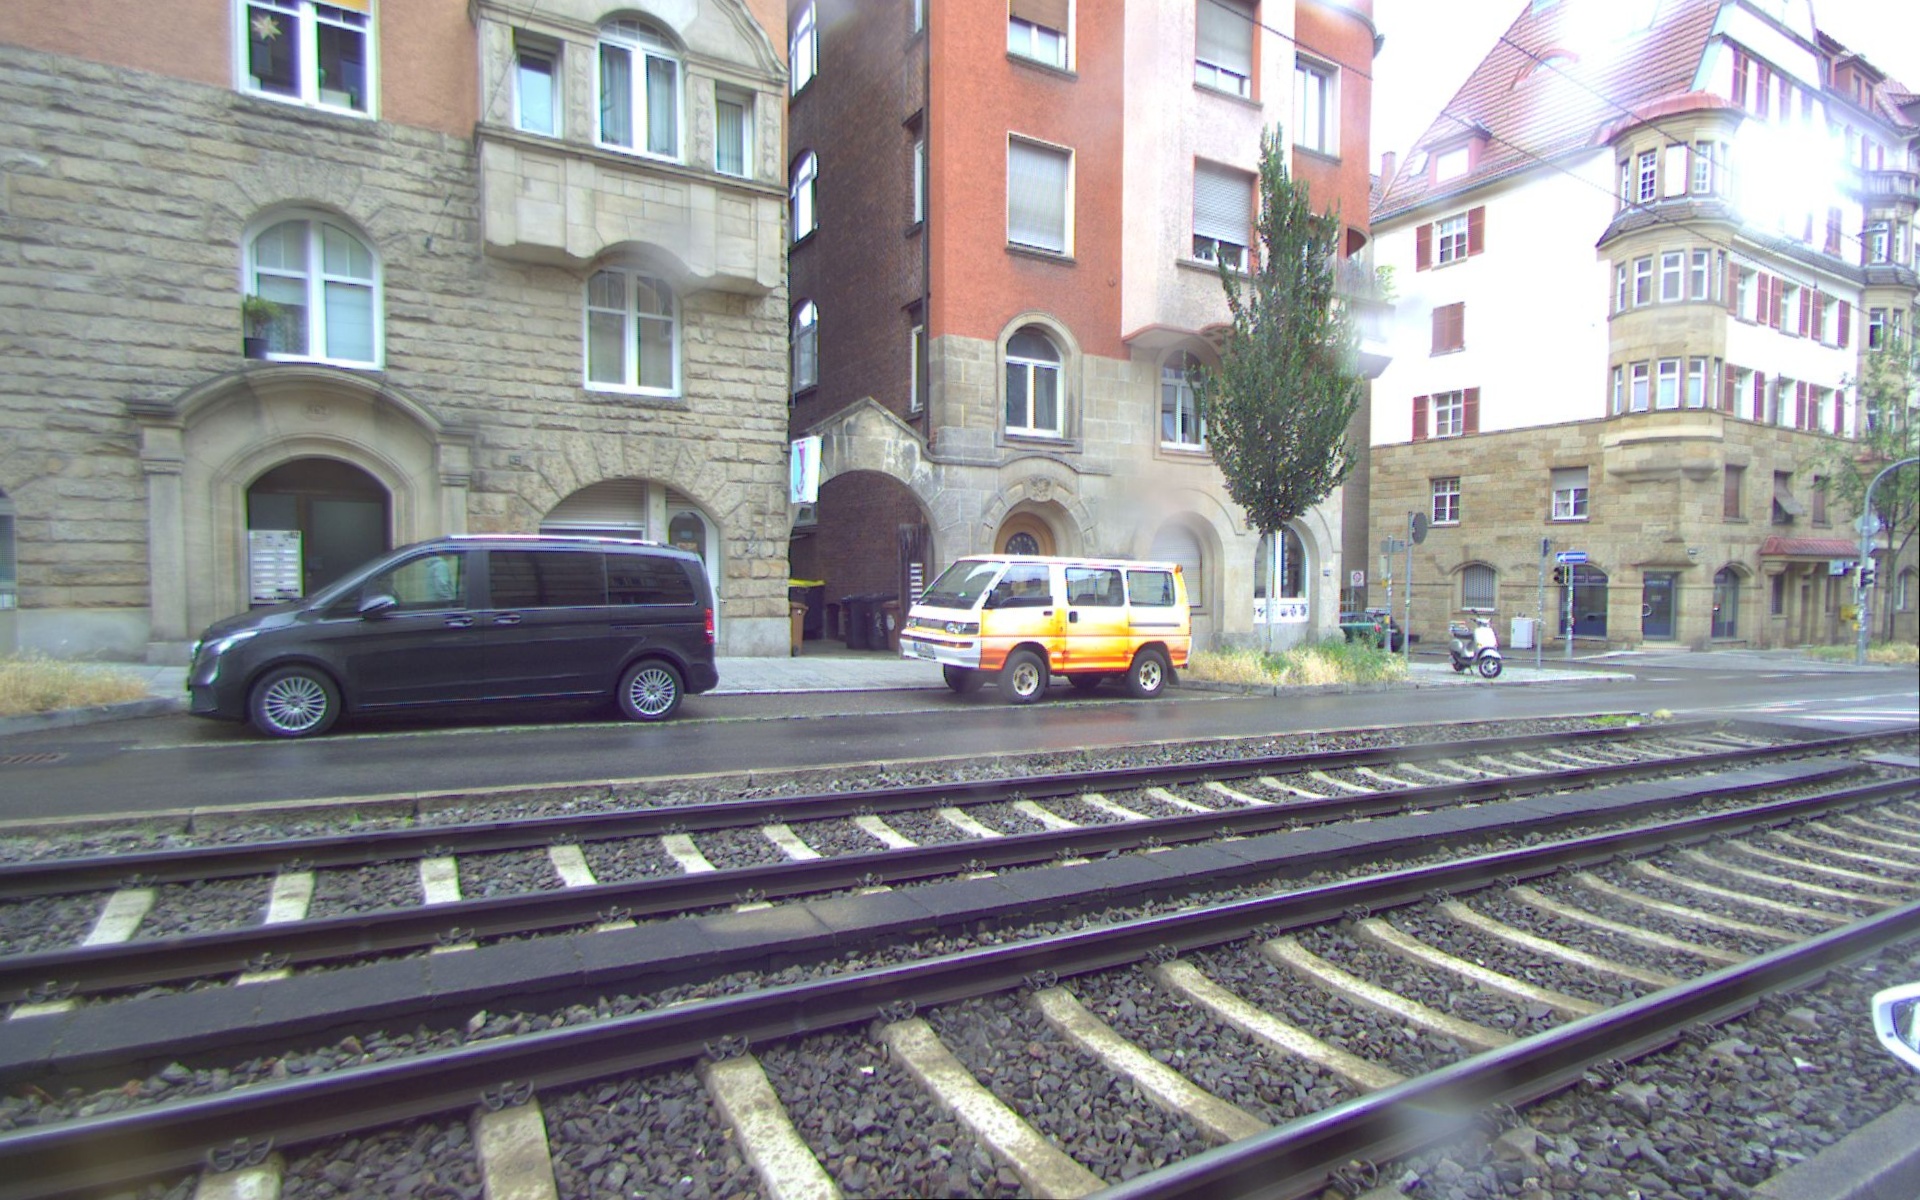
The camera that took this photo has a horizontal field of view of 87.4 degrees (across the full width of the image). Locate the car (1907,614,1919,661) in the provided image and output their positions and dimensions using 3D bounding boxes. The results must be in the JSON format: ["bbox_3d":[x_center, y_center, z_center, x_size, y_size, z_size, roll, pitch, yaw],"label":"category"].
[{"bbox_3d":[34.168,1.330,34.352,3.994,1.573,1.741,2,0,-34],"label":"car"}]

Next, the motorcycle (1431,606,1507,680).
[{"bbox_3d":[10.105,0.829,19.999,0.612,1.384,1.596,2,0,-3],"label":"motorcycle"}]

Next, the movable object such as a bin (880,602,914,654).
[{"bbox_3d":[-1.174,0.514,18.629,0.442,0.957,0.557,1,-1,-27],"label":"movable object such as a bin"}]

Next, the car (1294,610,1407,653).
[{"bbox_3d":[14.461,1.154,37.342,1.683,1.423,3.618,2,0,-34],"label":"car"}]

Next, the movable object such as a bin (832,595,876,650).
[{"bbox_3d":[-2.084,0.444,19.684,0.607,1.052,0.793,1,-1,-27],"label":"movable object such as a bin"}]

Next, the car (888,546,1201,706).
[{"bbox_3d":[1.275,0.374,14.437,4.295,2.001,1.721,2,0,-32],"label":"car"}]

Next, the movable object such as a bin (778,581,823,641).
[{"bbox_3d":[-3.611,0.236,22.655,0.676,1.324,1.154,1,1,-26],"label":"movable object such as a bin"}]

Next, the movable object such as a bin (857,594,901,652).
[{"bbox_3d":[-1.546,0.439,19.137,0.607,1.090,0.679,1,-1,-27],"label":"movable object such as a bin"}]

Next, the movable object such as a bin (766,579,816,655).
[{"bbox_3d":[-3.107,0.300,18.461,0.648,1.360,0.903,1,1,-27],"label":"movable object such as a bin"}]

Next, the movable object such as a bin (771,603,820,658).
[{"bbox_3d":[-2.892,0.521,17.588,0.627,0.918,0.793,1,1,-27],"label":"movable object such as a bin"}]

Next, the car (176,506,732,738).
[{"bbox_3d":[-5.051,0.249,10.593,4.769,1.968,1.984,2,0,-30],"label":"car"}]
